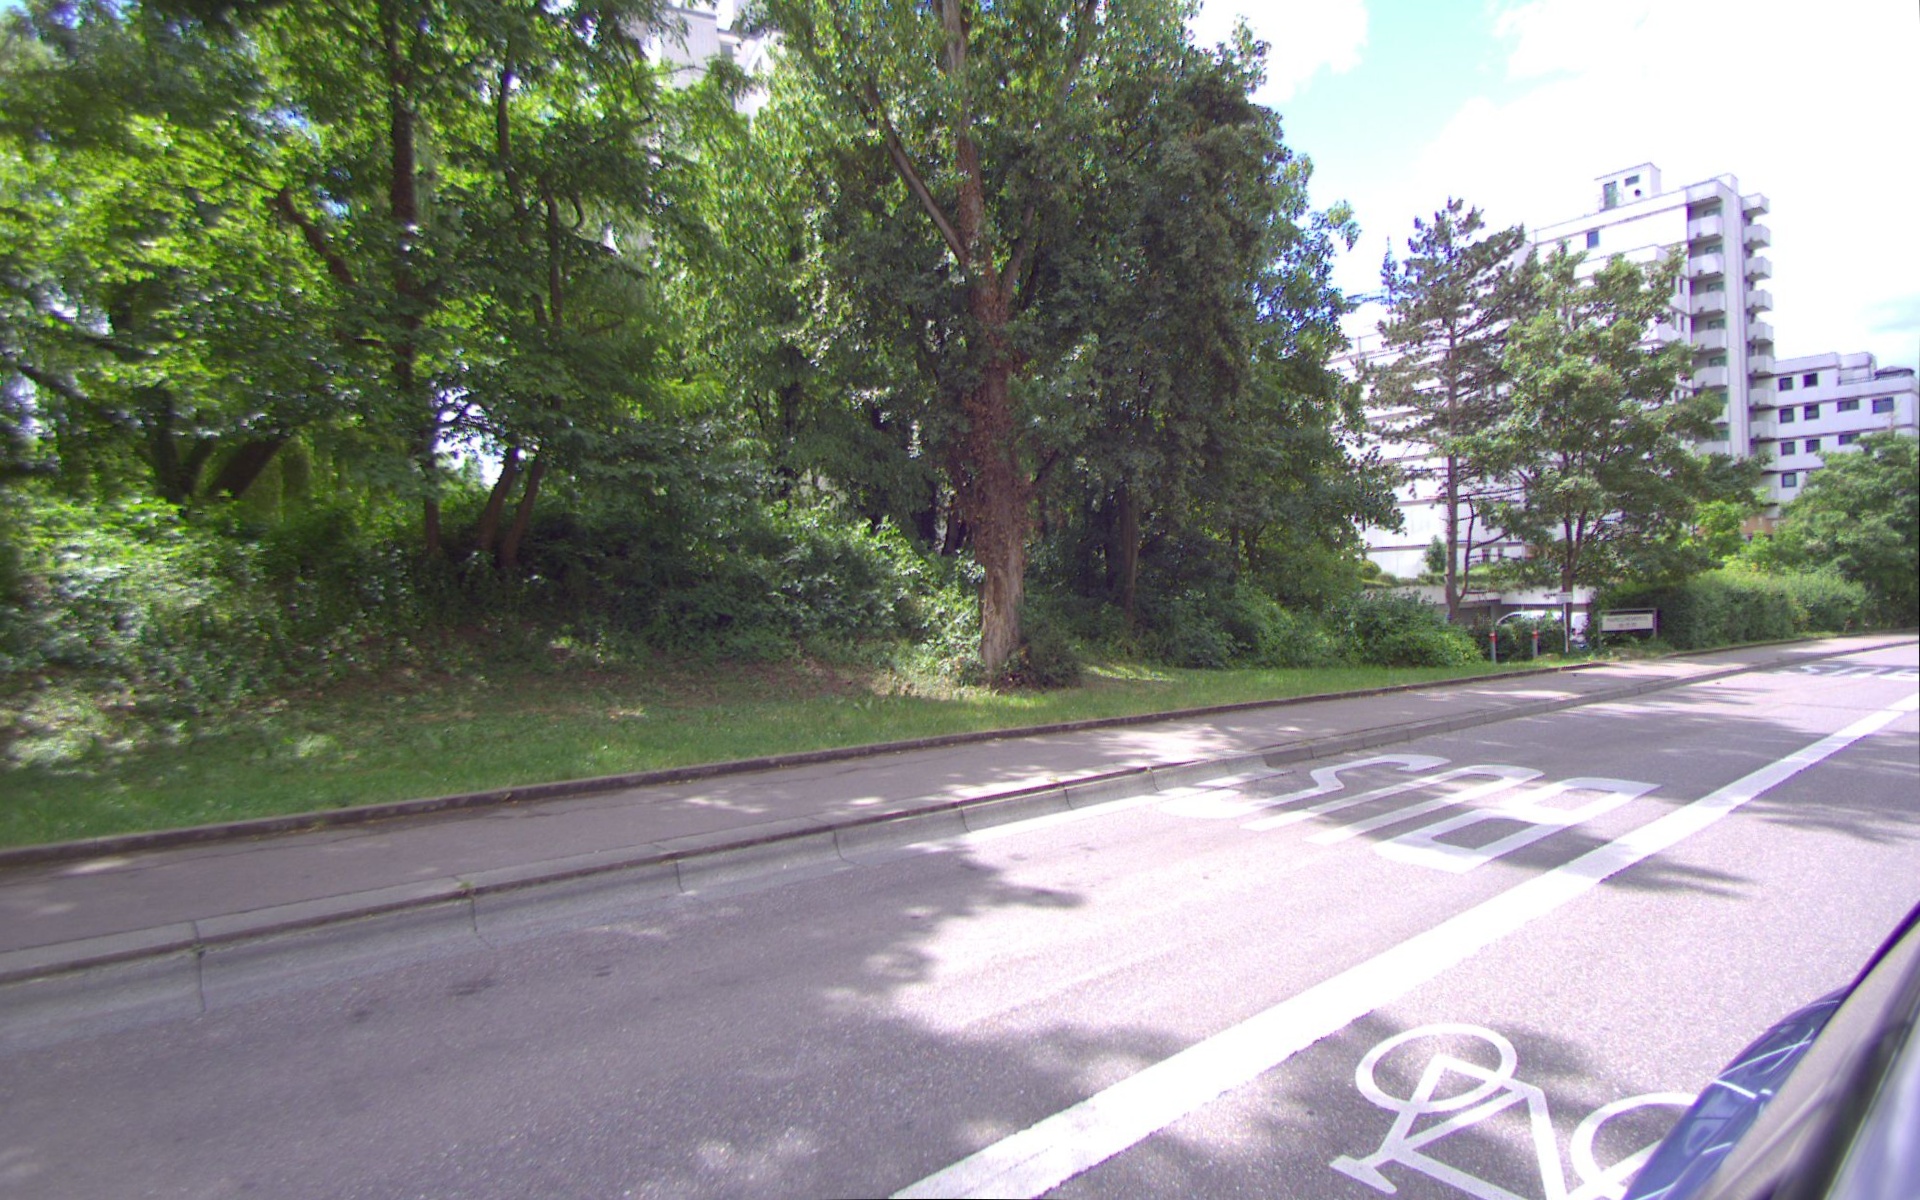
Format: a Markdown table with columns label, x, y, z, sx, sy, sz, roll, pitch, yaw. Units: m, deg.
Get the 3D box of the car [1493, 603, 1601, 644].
| label | x | y | z | sx | sy | sz | roll | pitch | yaw |
| --- | --- | --- | --- | --- | --- | --- | --- | --- | --- |
| car | 31.047 | 1.221 | 53.639 | 1.962 | 2.039 | 4.549 | -1 | 0 | -34 |
